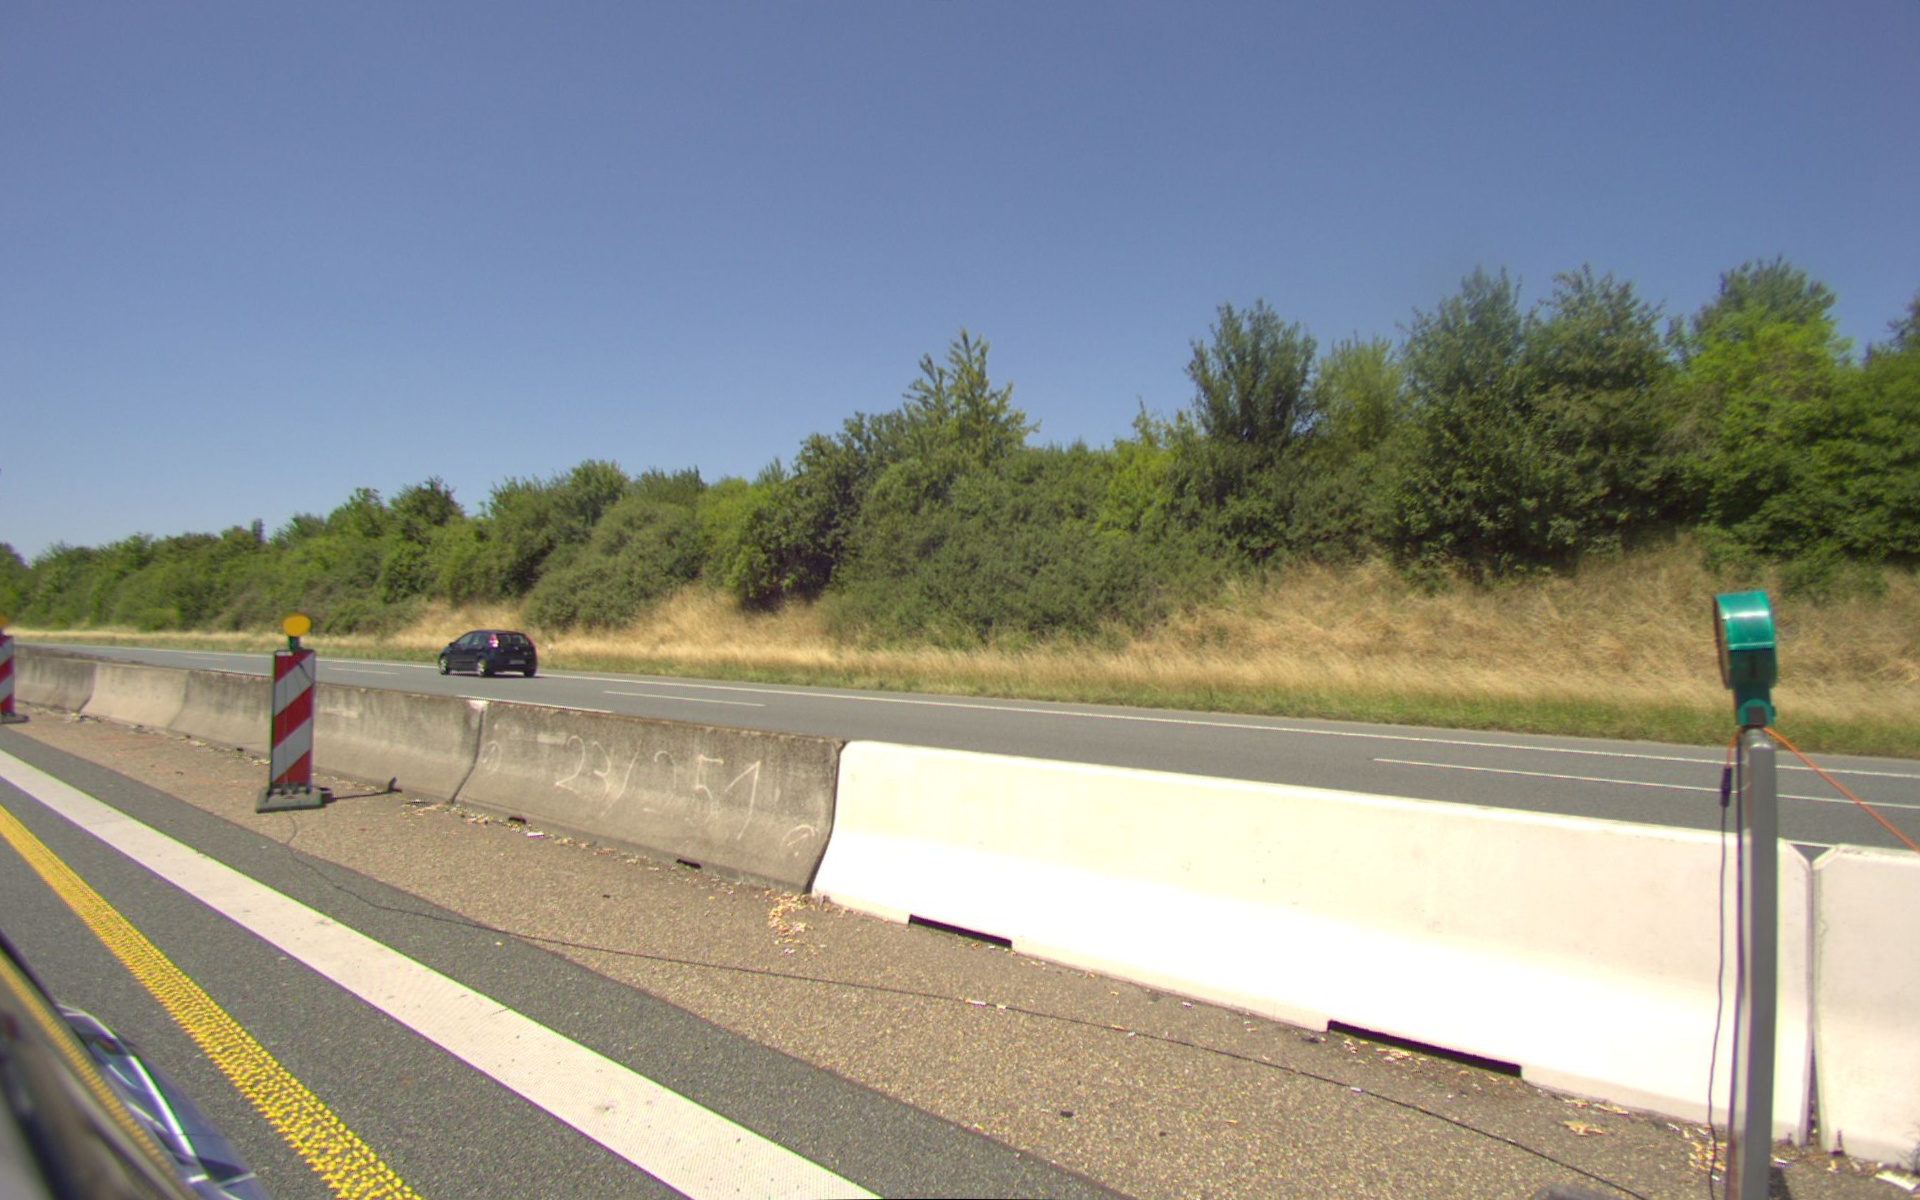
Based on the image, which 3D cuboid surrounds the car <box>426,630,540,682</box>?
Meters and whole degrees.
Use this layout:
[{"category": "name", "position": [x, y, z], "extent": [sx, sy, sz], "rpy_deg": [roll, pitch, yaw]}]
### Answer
[{"category": "car", "position": [-14.931, 1.716, 31.619], "extent": [3.845, 1.475, 1.692], "rpy_deg": [-1, -3, 39]}]
